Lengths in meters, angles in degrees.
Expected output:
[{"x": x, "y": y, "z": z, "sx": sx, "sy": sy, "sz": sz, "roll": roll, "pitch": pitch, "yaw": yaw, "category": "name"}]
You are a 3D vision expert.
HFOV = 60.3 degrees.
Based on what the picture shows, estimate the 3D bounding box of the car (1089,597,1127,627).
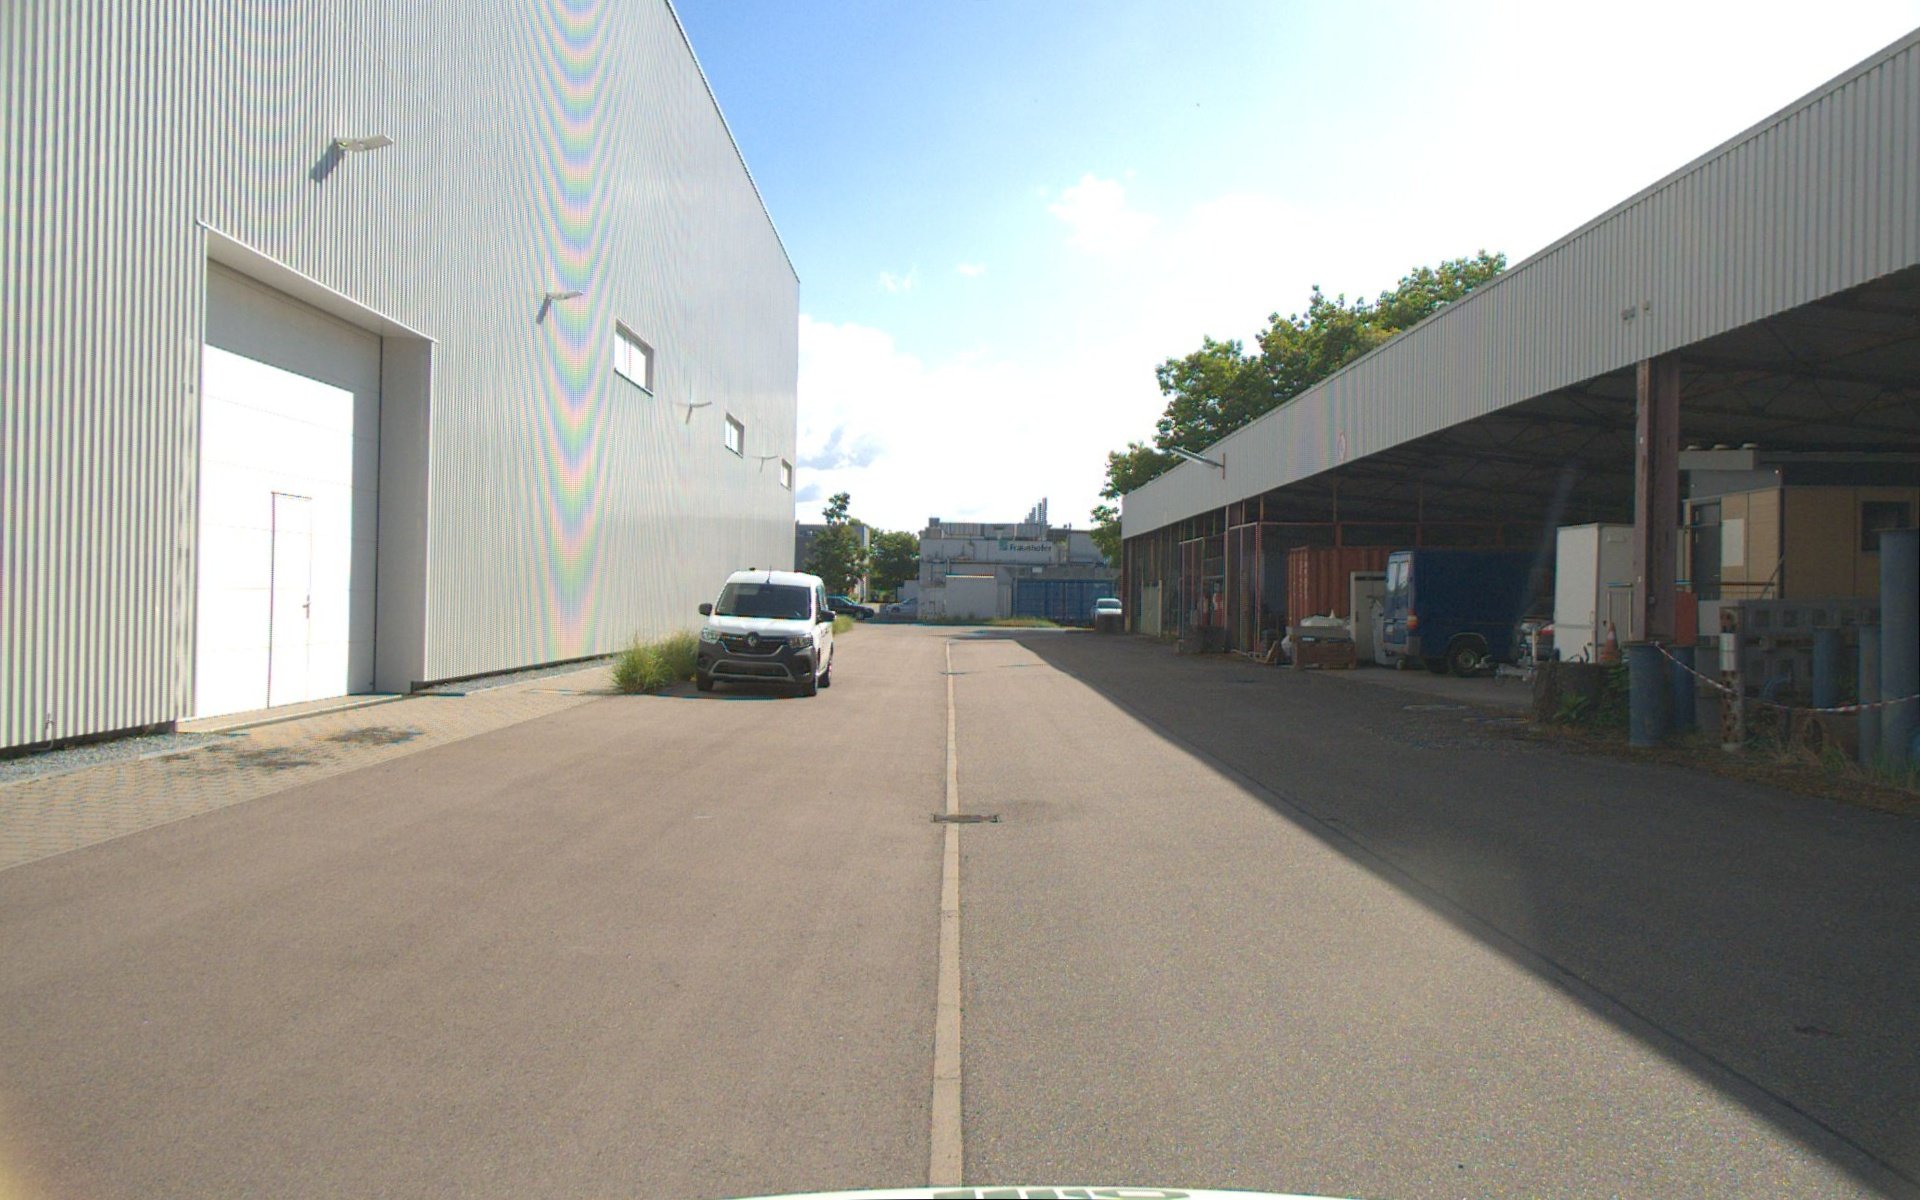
[{"x": 8.515, "y": 0.688, "z": 95.441, "sx": 1.921, "sy": 1.592, "sz": 4.060, "roll": 2, "pitch": 1, "yaw": 1, "category": "car"}]

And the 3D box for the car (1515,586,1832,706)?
[{"x": 10.477, "y": 0.684, "z": 24.471, "sx": 3.955, "sy": 1.551, "sz": 1.684, "roll": 2, "pitch": -2, "yaw": 0, "category": "car"}]

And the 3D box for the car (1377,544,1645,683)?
[{"x": 10.252, "y": 0.283, "z": 30.991, "sx": 4.342, "sy": 2.350, "sz": 1.915, "roll": 2, "pitch": -2, "yaw": 0, "category": "car"}]

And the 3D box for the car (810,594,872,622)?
[{"x": -7.745, "y": 0.521, "z": 107.678, "sx": 3.906, "sy": 1.626, "sz": 1.741, "roll": 2, "pitch": -2, "yaw": -2, "category": "car"}]

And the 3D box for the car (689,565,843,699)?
[{"x": -2.893, "y": 0.439, "z": 25.518, "sx": 1.781, "sy": 1.818, "sz": 4.405, "roll": 2, "pitch": 0, "yaw": 0, "category": "car"}]

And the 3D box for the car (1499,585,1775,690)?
[{"x": 11.358, "y": 0.640, "z": 27.905, "sx": 3.955, "sy": 1.551, "sz": 1.684, "roll": 2, "pitch": -2, "yaw": 0, "category": "car"}]

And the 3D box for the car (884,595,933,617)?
[{"x": -4.208, "y": 0.479, "z": 135.597, "sx": 3.906, "sy": 1.626, "sz": 1.847, "roll": 2, "pitch": -2, "yaw": -2, "category": "car"}]

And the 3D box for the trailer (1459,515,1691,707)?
[{"x": 8.188, "y": 0.155, "z": 22.182, "sx": 2.472, "sy": 2.441, "sz": 1.727, "roll": 1, "pitch": -1, "yaw": 0, "category": "trailer"}]
